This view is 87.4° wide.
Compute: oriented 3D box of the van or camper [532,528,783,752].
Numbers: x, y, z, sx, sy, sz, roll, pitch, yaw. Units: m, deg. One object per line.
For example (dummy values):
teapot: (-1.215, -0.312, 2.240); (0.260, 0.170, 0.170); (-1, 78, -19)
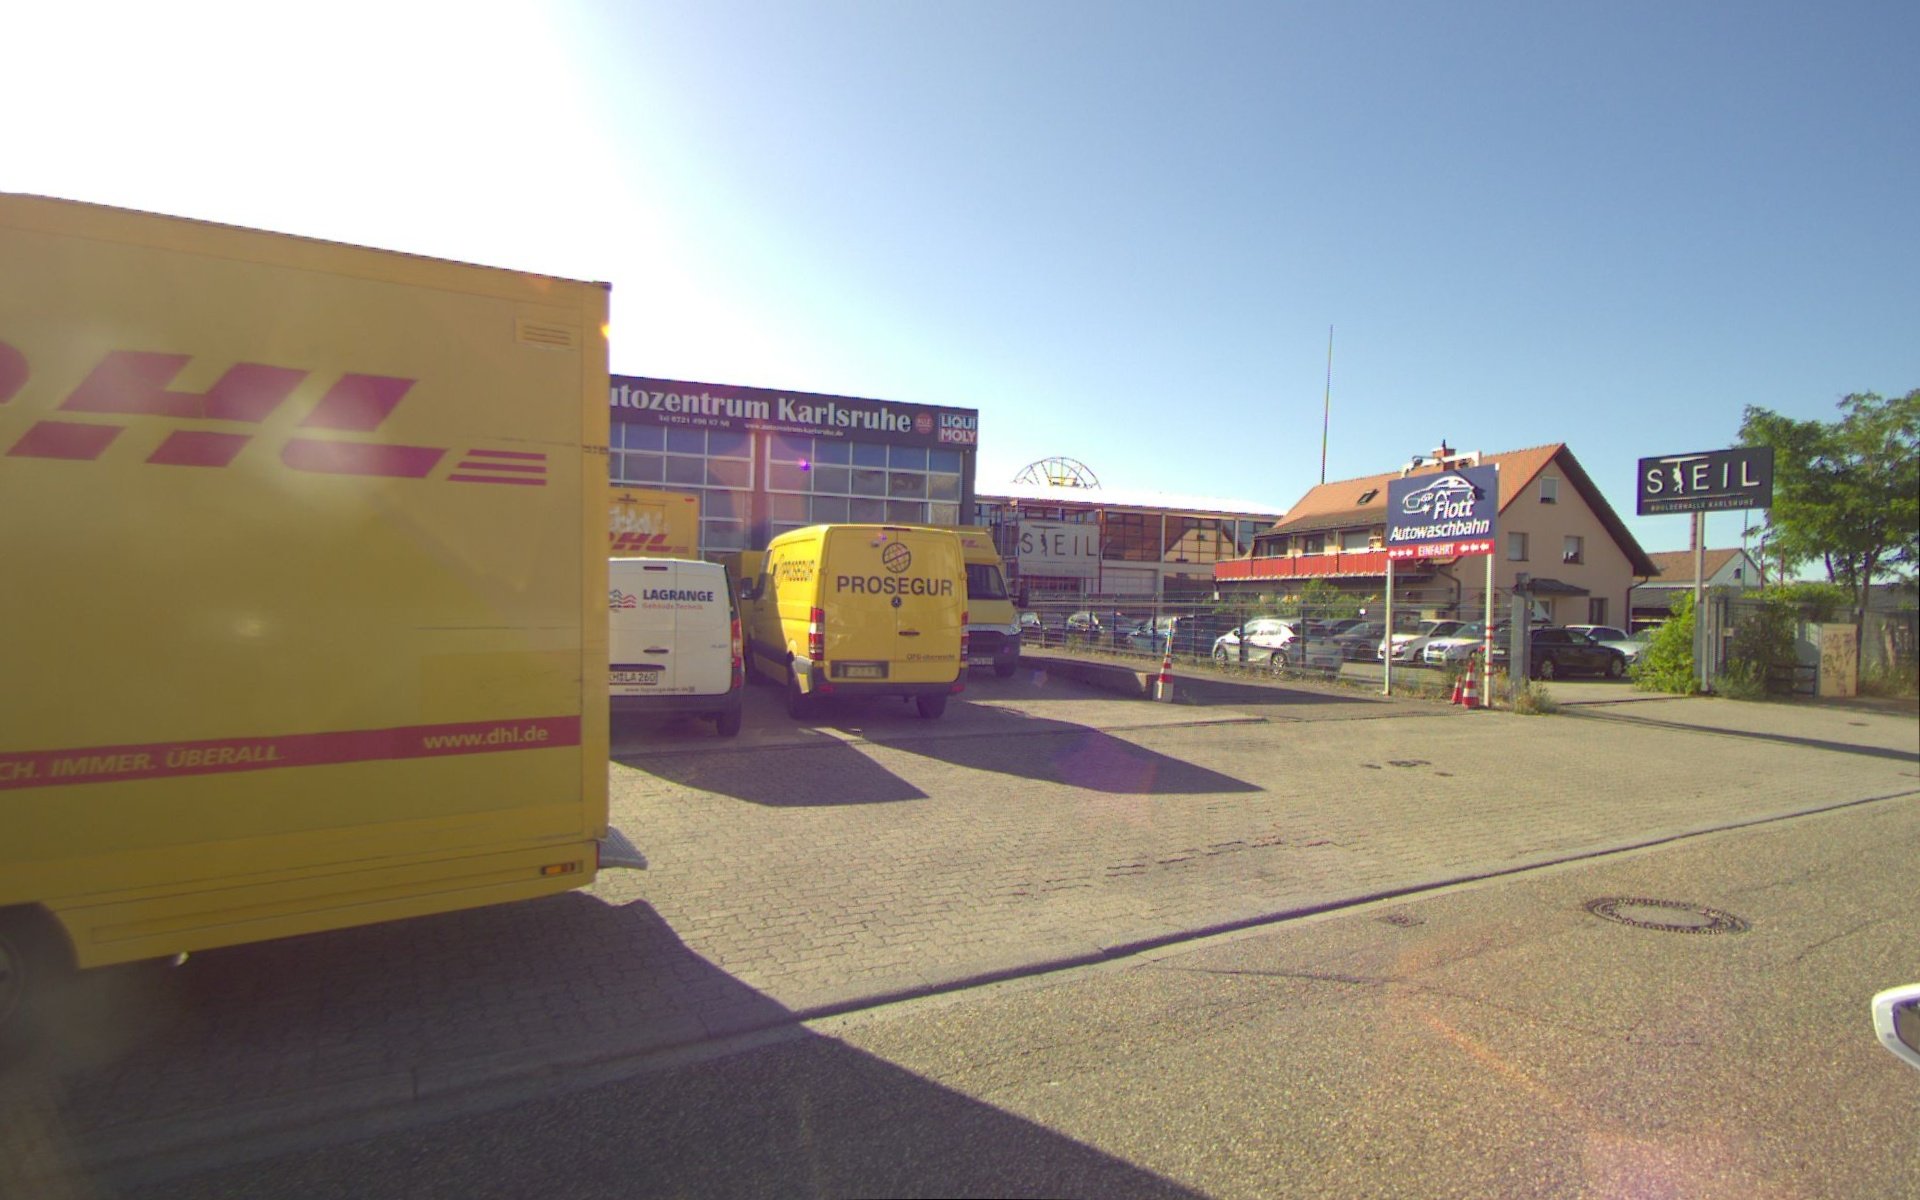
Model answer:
van or camper: (-3.724, 0.387, 11.702); (2.220, 2.040, 4.531); (2, 0, -24)

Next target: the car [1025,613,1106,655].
car: (4.215, 1.335, 40.669); (1.805, 1.511, 3.872); (2, -1, -18)

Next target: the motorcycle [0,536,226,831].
motorcycle: (-6.744, 0.520, 6.605); (3.002, 1.898, 0.778); (1, 3, -28)

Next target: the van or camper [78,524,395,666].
van or camper: (-11.574, -0.028, 16.396); (3.958, 2.040, 1.849); (2, 0, -34)

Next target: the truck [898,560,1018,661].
truck: (-0.166, 0.323, 32.223); (2.376, 2.976, 4.696); (2, 0, -20)

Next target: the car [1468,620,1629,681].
car: (16.563, 1.395, 28.316); (3.980, 1.599, 1.693); (1, 0, -18)

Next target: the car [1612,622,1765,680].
car: (21.992, 1.538, 30.337); (3.980, 1.599, 1.693); (2, 0, -18)

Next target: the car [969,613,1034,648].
car: (1.897, 1.402, 47.227); (1.805, 1.511, 3.872); (2, -1, -18)

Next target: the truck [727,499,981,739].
truck: (-1.785, 0.154, 14.008); (2.189, 2.602, 5.914); (2, 1, -19)

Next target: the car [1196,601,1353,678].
car: (8.162, 0.981, 26.496); (1.818, 1.816, 4.082); (2, 0, -20)

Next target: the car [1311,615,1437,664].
car: (14.725, 1.406, 35.757); (3.980, 1.599, 1.693); (2, 0, -18)

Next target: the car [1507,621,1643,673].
car: (20.660, 1.582, 33.758); (3.980, 1.599, 1.693); (2, 0, -18)

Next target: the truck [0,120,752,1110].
truck: (-4.590, -0.014, 3.409); (7.167, 3.023, 2.389); (2, 1, -33)

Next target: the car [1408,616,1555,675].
car: (16.096, 1.410, 31.018); (3.980, 1.683, 1.693); (2, 0, -18)

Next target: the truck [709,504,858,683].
truck: (-3.636, -0.082, 19.730); (2.138, 3.012, 5.331); (2, 0, -18)

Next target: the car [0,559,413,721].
car: (-8.901, 0.368, 11.857); (4.164, 1.584, 1.855); (-3, 2, -32)

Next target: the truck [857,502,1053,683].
truck: (-0.350, -0.102, 19.943); (2.138, 3.012, 6.088); (2, 0, -18)

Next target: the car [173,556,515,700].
car: (-8.788, 0.385, 14.650); (3.955, 1.840, 1.983); (2, 1, -31)

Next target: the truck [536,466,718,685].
truck: (-5.831, -0.405, 17.561); (2.484, 3.161, 5.661); (2, 1, -19)

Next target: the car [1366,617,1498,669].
car: (15.763, 1.430, 33.582); (3.855, 1.599, 1.693); (2, 0, -18)

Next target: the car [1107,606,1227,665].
car: (6.479, 1.077, 31.912); (1.818, 1.680, 4.082); (2, 0, -20)
